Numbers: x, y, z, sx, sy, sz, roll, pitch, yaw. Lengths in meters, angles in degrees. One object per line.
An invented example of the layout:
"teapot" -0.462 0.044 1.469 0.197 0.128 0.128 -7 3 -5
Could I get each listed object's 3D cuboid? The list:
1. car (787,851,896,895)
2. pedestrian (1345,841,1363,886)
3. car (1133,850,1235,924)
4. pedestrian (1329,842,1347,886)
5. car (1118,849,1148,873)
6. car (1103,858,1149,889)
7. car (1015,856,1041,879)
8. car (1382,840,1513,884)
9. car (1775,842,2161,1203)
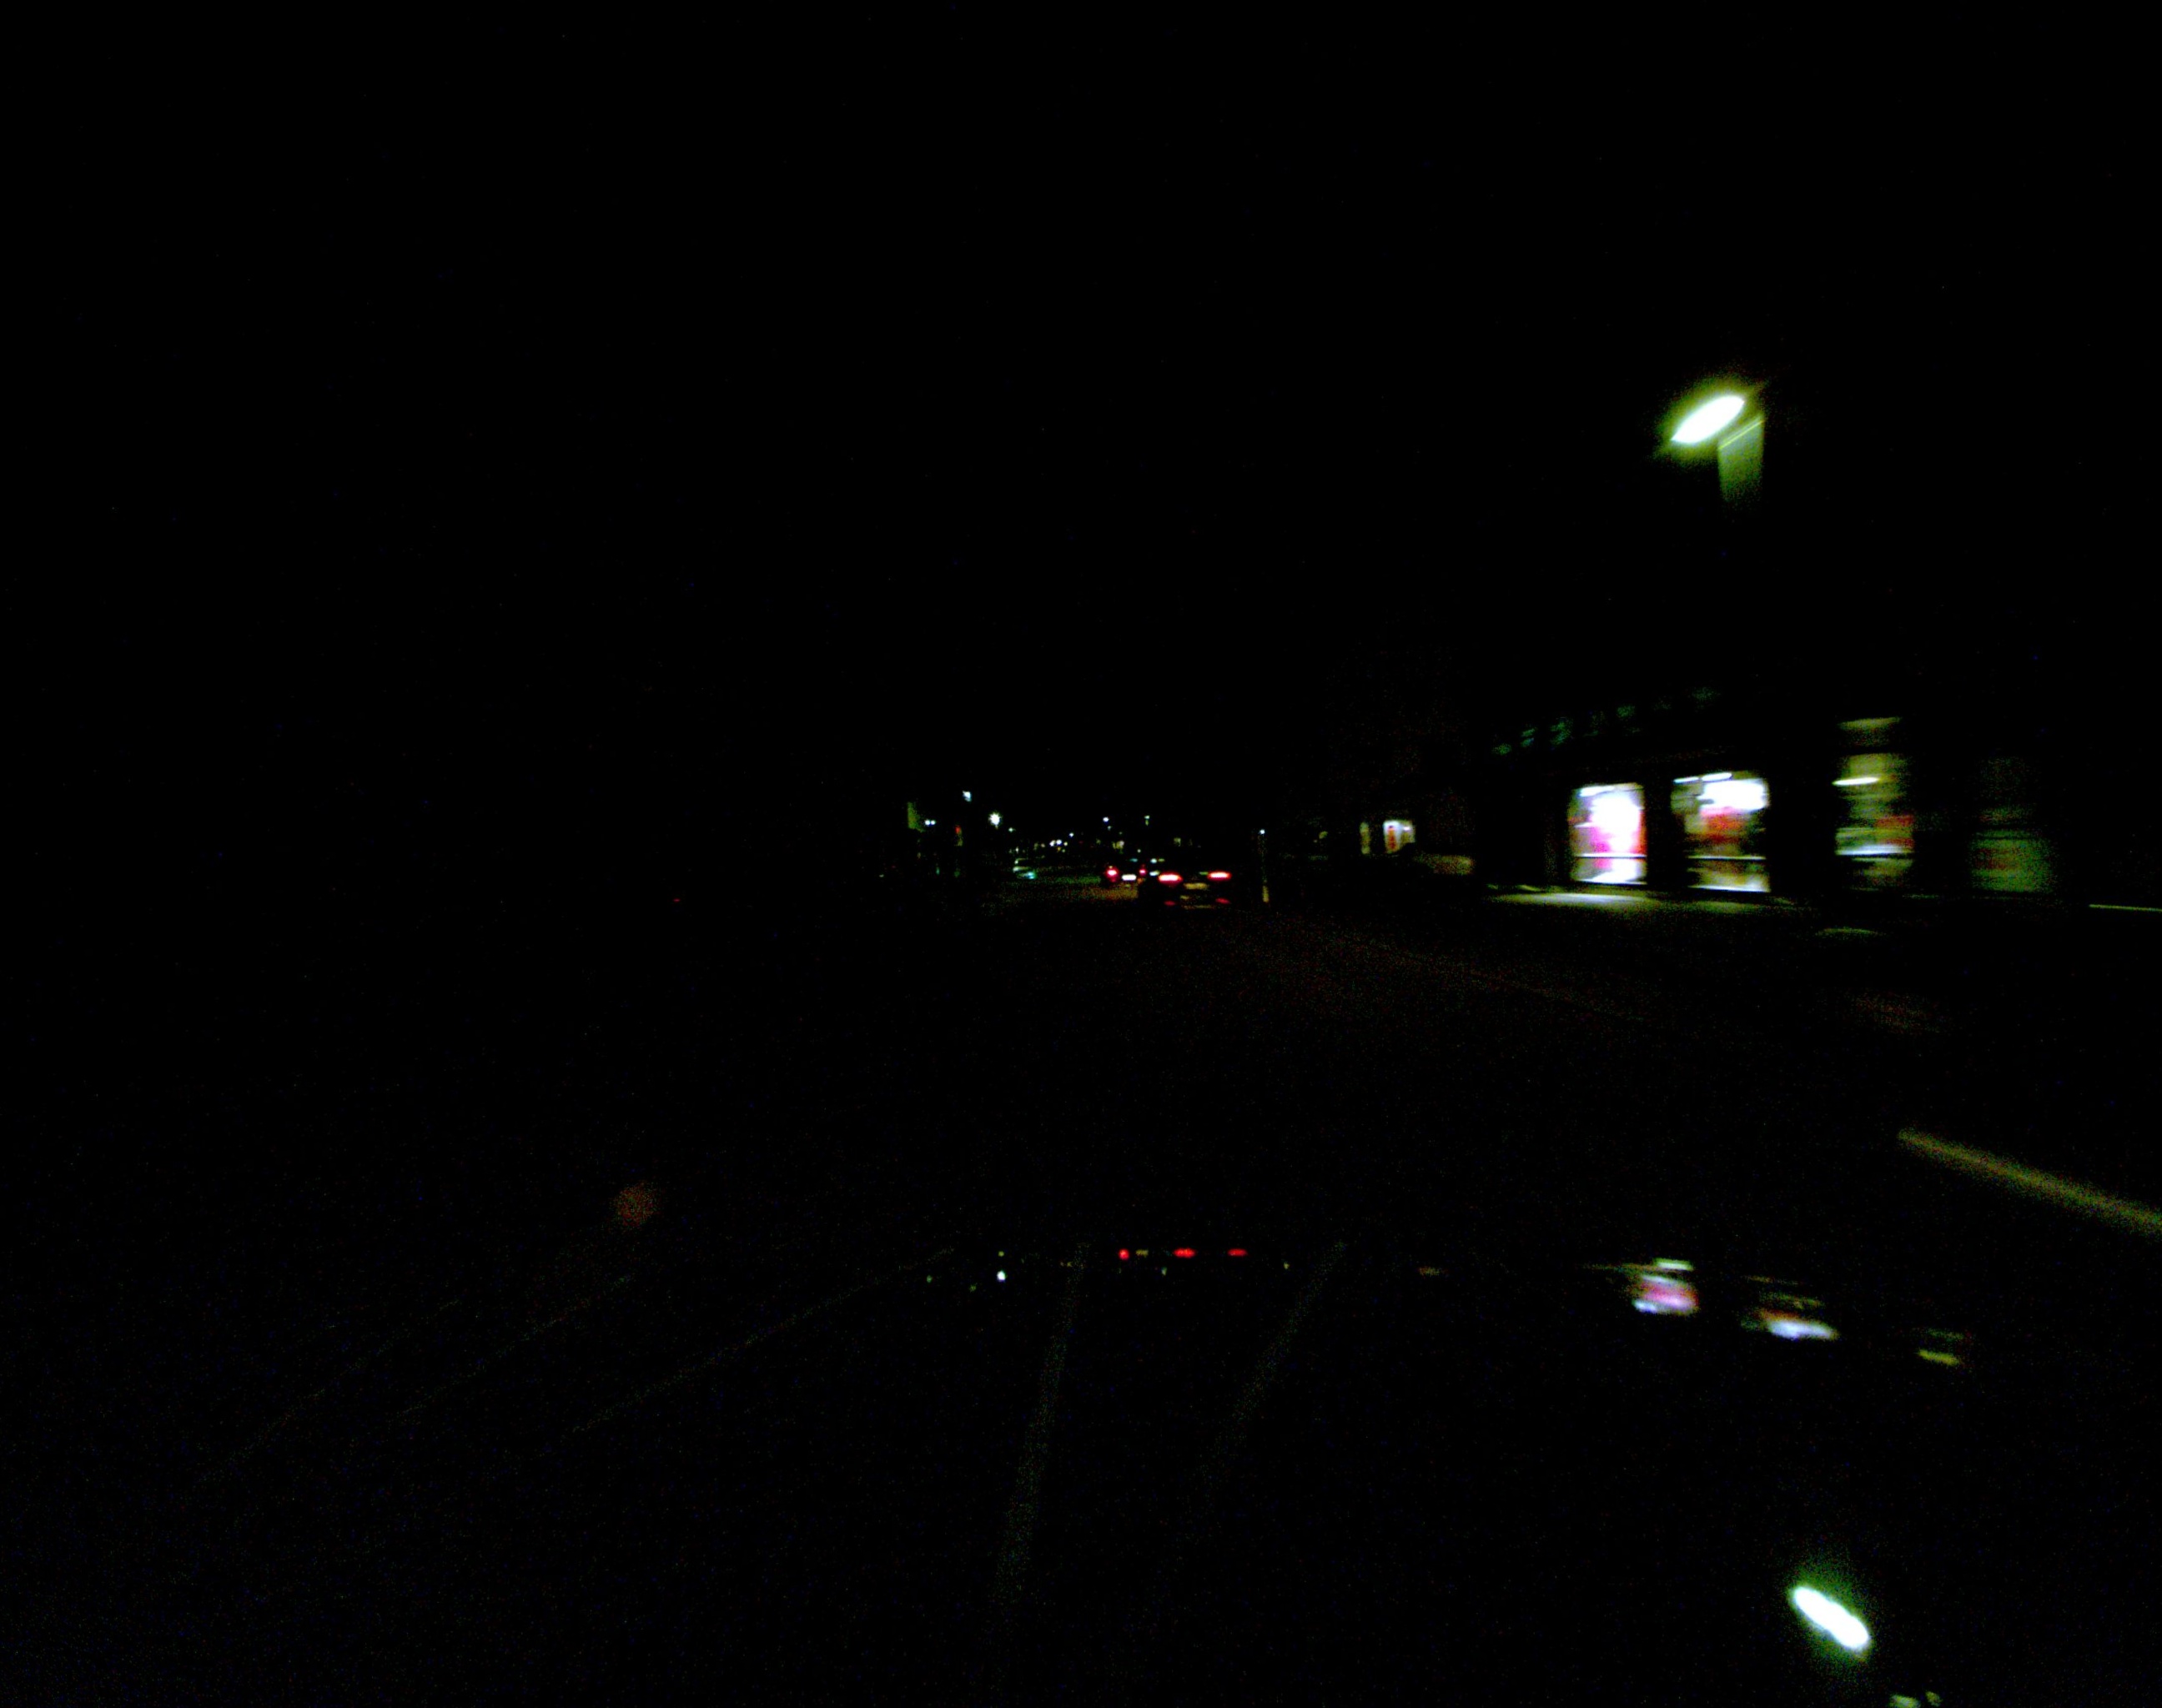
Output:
"car" -9.688 0.765 30.955 3.916 1.578 1.644 2 0 -3
"pedestrian" 9.921 0.345 27.599 0.528 1.579 0.667 -2 1 21
"car" 2.486 0.751 19.376 1.752 1.635 4.306 -2 0 -3
"pedestrian" 9.404 0.365 27.799 0.528 1.579 0.667 -2 1 21
"car" 3.824 0.497 56.523 1.814 1.637 3.803 -4 0 -1
"car" 2.031 0.868 35.168 1.822 1.271 3.916 -2 0 -1
"car" -3.537 0.868 50.778 1.606 1.474 3.698 -2 0 -3
"car" 12.943 0.277 26.959 3.833 1.408 1.652 -1 0 1
"car" 5.431 0.696 2.412 1.901 1.411 4.930 -4 0 0
